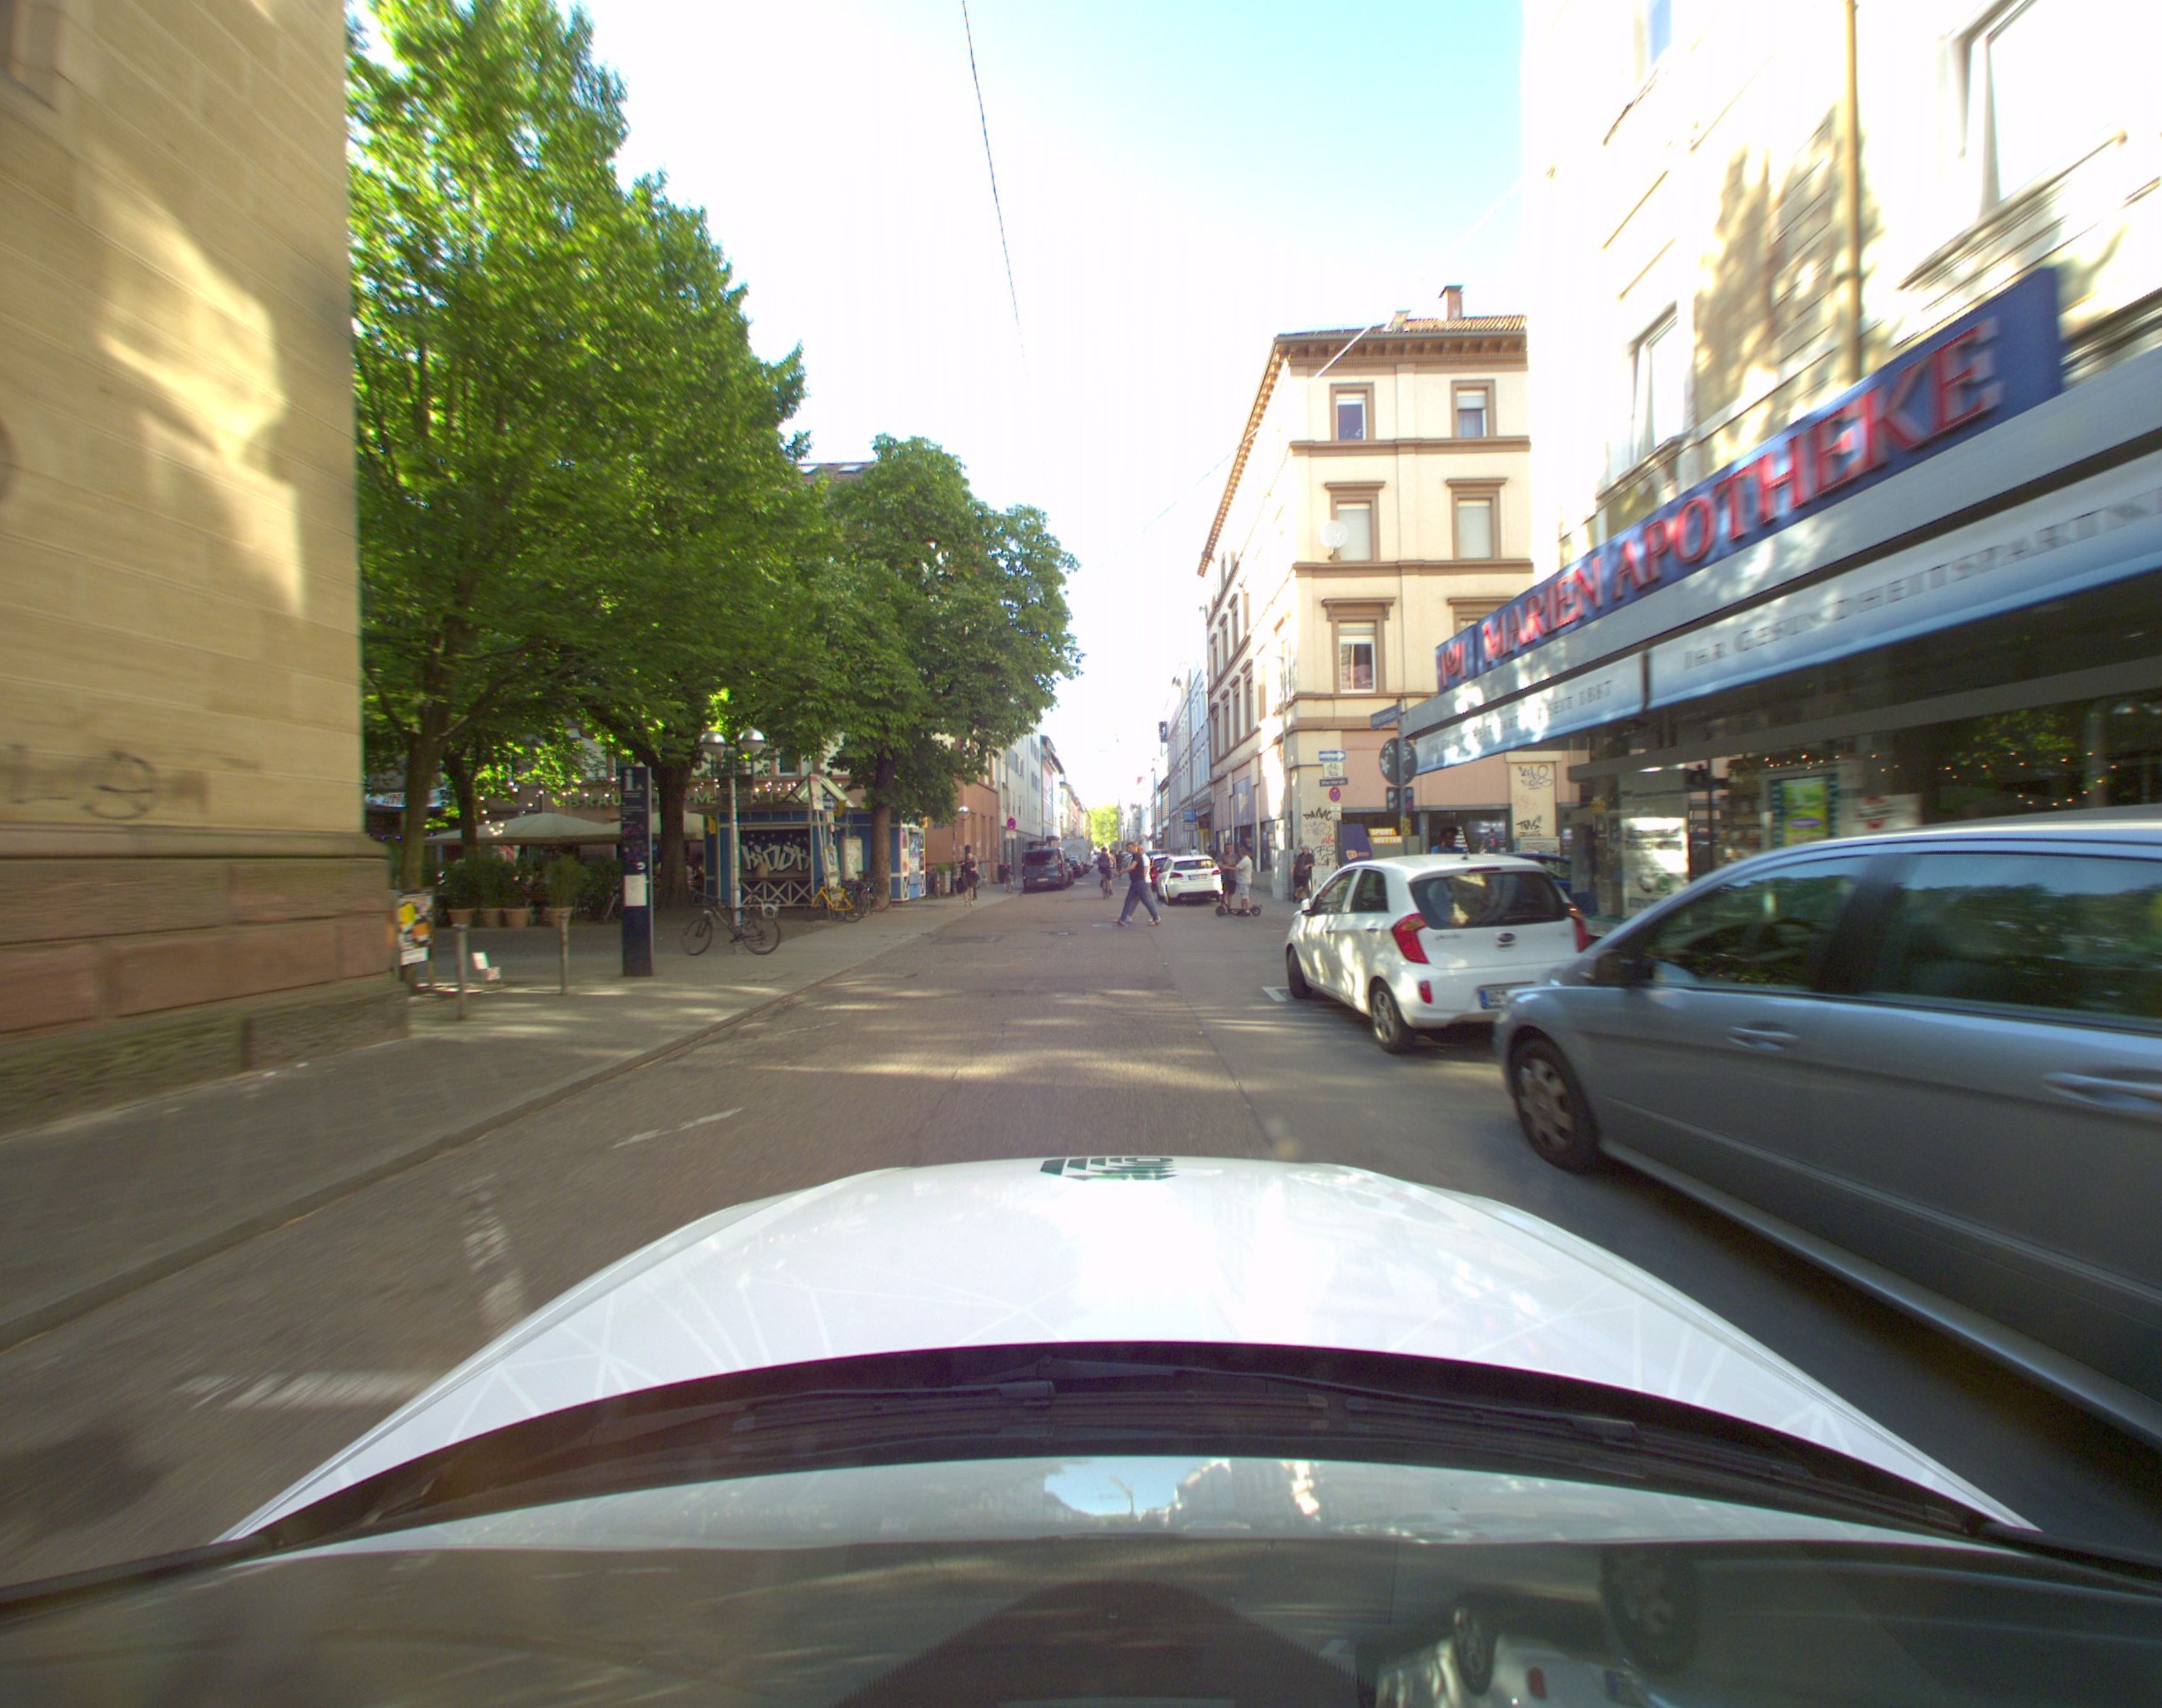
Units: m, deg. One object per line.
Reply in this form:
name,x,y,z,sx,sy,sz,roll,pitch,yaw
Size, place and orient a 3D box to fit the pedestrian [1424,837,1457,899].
pedestrian,10.163,0.391,23.032,0.688,1.726,0.475,0,-1,1

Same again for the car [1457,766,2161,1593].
car,3.013,0.658,2.703,1.694,1.650,4.064,0,-1,1

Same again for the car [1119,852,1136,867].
car,5.858,0.704,102.567,1.745,1.879,3.971,-2,-1,-1

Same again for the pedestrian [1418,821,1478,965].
pedestrian,4.946,0.516,10.998,0.560,1.894,0.530,0,-1,1

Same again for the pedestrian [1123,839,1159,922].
pedestrian,1.338,0.581,18.349,0.759,1.835,0.688,0,-1,0

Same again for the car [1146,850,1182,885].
car,4.139,0.685,40.815,1.563,1.557,3.317,-4,-1,4

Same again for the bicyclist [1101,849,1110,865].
bicyclist,2.677,0.353,88.591,0.946,1.628,0.953,-3,0,2

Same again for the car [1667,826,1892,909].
car,16.986,0.296,19.972,3.910,1.840,1.869,-1,2,1

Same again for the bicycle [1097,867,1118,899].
bicycle,0.904,0.983,28.028,0.674,1.074,1.942,0,-1,1

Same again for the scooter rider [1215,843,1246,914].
scooter rider,3.800,0.609,20.661,0.558,1.778,0.615,-1,-1,37

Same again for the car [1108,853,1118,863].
car,5.394,0.703,136.249,1.605,1.560,3.611,-1,0,1

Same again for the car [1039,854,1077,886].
car,-1.197,0.874,43.998,1.744,1.522,3.870,-4,-1,2

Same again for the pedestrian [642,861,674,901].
pedestrian,-14.030,0.883,27.032,0.693,1.321,0.615,0,-1,9

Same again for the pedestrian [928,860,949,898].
pedestrian,-5.541,0.966,31.713,0.703,1.445,0.617,0,-1,0

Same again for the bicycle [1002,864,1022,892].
bicycle,-3.042,1.040,35.720,0.551,1.216,1.978,0,-1,-16

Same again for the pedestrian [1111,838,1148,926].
pedestrian,1.019,0.581,17.402,0.691,1.825,1.003,-1,0,0

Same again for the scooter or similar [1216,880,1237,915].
scooter or similar,3.640,1.083,20.357,0.392,0.828,0.926,0,-1,2

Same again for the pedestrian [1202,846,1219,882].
pedestrian,6.326,0.482,39.739,0.629,1.740,0.656,0,-1,-11

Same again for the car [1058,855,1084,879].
car,-0.709,0.931,60.004,1.710,1.478,4.500,-4,0,1

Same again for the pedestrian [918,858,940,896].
pedestrian,-5.788,0.873,31.049,0.703,1.445,0.617,0,-1,0

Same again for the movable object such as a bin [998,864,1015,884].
movable object such as a bin,-4.156,1.118,45.592,0.752,1.067,0.655,-1,-1,21

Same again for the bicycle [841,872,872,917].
bicycle,-5.734,1.025,20.832,0.291,1.046,1.579,0,1,2

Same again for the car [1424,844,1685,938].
car,8.222,0.622,14.401,3.560,1.486,1.789,-1,-1,1

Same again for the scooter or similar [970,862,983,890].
scooter or similar,-4.734,0.989,36.969,0.346,1.216,1.392,0,-1,1

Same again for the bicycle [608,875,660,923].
bicycle,-11.491,1.130,21.011,0.227,1.091,1.938,0,1,1

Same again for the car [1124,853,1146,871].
car,5.227,0.744,79.086,1.911,1.706,4.367,-1,0,1

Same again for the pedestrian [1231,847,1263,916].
pedestrian,4.010,0.666,19.718,0.568,1.638,0.522,1,-1,-44

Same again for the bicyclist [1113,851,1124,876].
bicyclist,2.385,0.615,51.311,0.668,1.567,0.716,0,-1,1

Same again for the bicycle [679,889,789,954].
bicycle,-5.820,1.128,13.686,1.684,1.065,0.346,0,-1,-1

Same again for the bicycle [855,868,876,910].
bicycle,-6.245,0.981,23.649,0.497,1.131,2.029,0,0,-12

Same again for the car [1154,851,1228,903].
car,3.443,0.704,26.100,1.781,1.516,4.135,0,-1,-1

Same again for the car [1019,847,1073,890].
car,-1.582,0.641,38.598,2.012,1.879,5.301,0,0,3

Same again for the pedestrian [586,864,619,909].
pedestrian,-14.114,0.945,24.030,0.566,1.321,0.634,0,-1,1

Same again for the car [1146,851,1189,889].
car,3.791,0.696,36.166,1.600,1.572,3.554,0,-1,1

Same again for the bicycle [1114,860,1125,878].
bicycle,2.401,0.919,51.386,0.646,1.129,2.136,0,-1,2

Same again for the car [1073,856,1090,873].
car,0.101,1.191,90.867,1.746,1.816,4.078,-3,-1,1

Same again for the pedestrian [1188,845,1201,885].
pedestrian,5.001,0.493,35.882,0.558,1.740,0.428,0,-1,7

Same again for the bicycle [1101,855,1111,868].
bicycle,2.711,0.807,88.849,0.973,1.314,2.557,-3,0,3

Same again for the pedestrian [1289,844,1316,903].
pedestrian,6.315,0.554,23.189,0.593,1.650,0.468,-1,2,33

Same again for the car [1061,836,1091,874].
car,-0.404,0.124,76.562,2.334,3.291,7.158,-3,-1,2

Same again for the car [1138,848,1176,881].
car,4.283,0.572,46.565,1.892,1.793,4.316,0,-1,1

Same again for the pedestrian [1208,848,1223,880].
pedestrian,6.435,0.467,38.965,0.586,1.529,0.658,0,-1,-4

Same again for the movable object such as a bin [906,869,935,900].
movable object such as a bin,-5.806,1.106,29.436,0.866,1.086,0.774,0,-1,2

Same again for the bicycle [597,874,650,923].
bicycle,-11.767,1.125,21.013,0.227,1.091,1.938,0,2,1

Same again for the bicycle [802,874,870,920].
bicycle,-5.866,1.020,19.514,1.563,1.082,0.348,0,-1,12

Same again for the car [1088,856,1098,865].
car,2.369,1.193,159.400,1.744,1.683,3.797,-2,-1,1

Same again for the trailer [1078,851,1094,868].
trailer,0.706,0.728,105.883,1.875,2.092,3.738,-2,-1,1

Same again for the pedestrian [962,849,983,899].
pedestrian,-3.973,0.726,29.925,0.644,1.834,0.698,1,-1,1

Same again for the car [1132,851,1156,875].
car,4.599,0.683,60.037,1.551,1.712,3.559,0,-1,1

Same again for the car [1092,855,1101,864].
car,3.346,1.253,176.300,1.744,1.821,3.797,-2,-1,1

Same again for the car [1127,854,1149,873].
car,4.952,0.841,70.831,1.680,1.543,4.047,-3,-1,1

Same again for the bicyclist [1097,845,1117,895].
bicyclist,0.897,0.542,28.037,0.665,1.677,1.097,0,-1,1

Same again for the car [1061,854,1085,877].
car,-0.627,0.886,65.610,1.710,1.650,4.247,-4,0,1

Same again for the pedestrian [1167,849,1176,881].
pedestrian,4.852,0.601,43.777,0.439,1.704,0.655,0,-1,2

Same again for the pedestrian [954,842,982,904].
pedestrian,-3.461,0.589,24.997,0.714,1.873,0.720,0,-1,1

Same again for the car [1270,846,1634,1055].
car,3.048,0.701,7.579,1.684,1.463,3.639,0,-1,-1

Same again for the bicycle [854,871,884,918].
bicycle,-5.414,1.011,20.822,0.291,1.082,1.579,0,1,2
